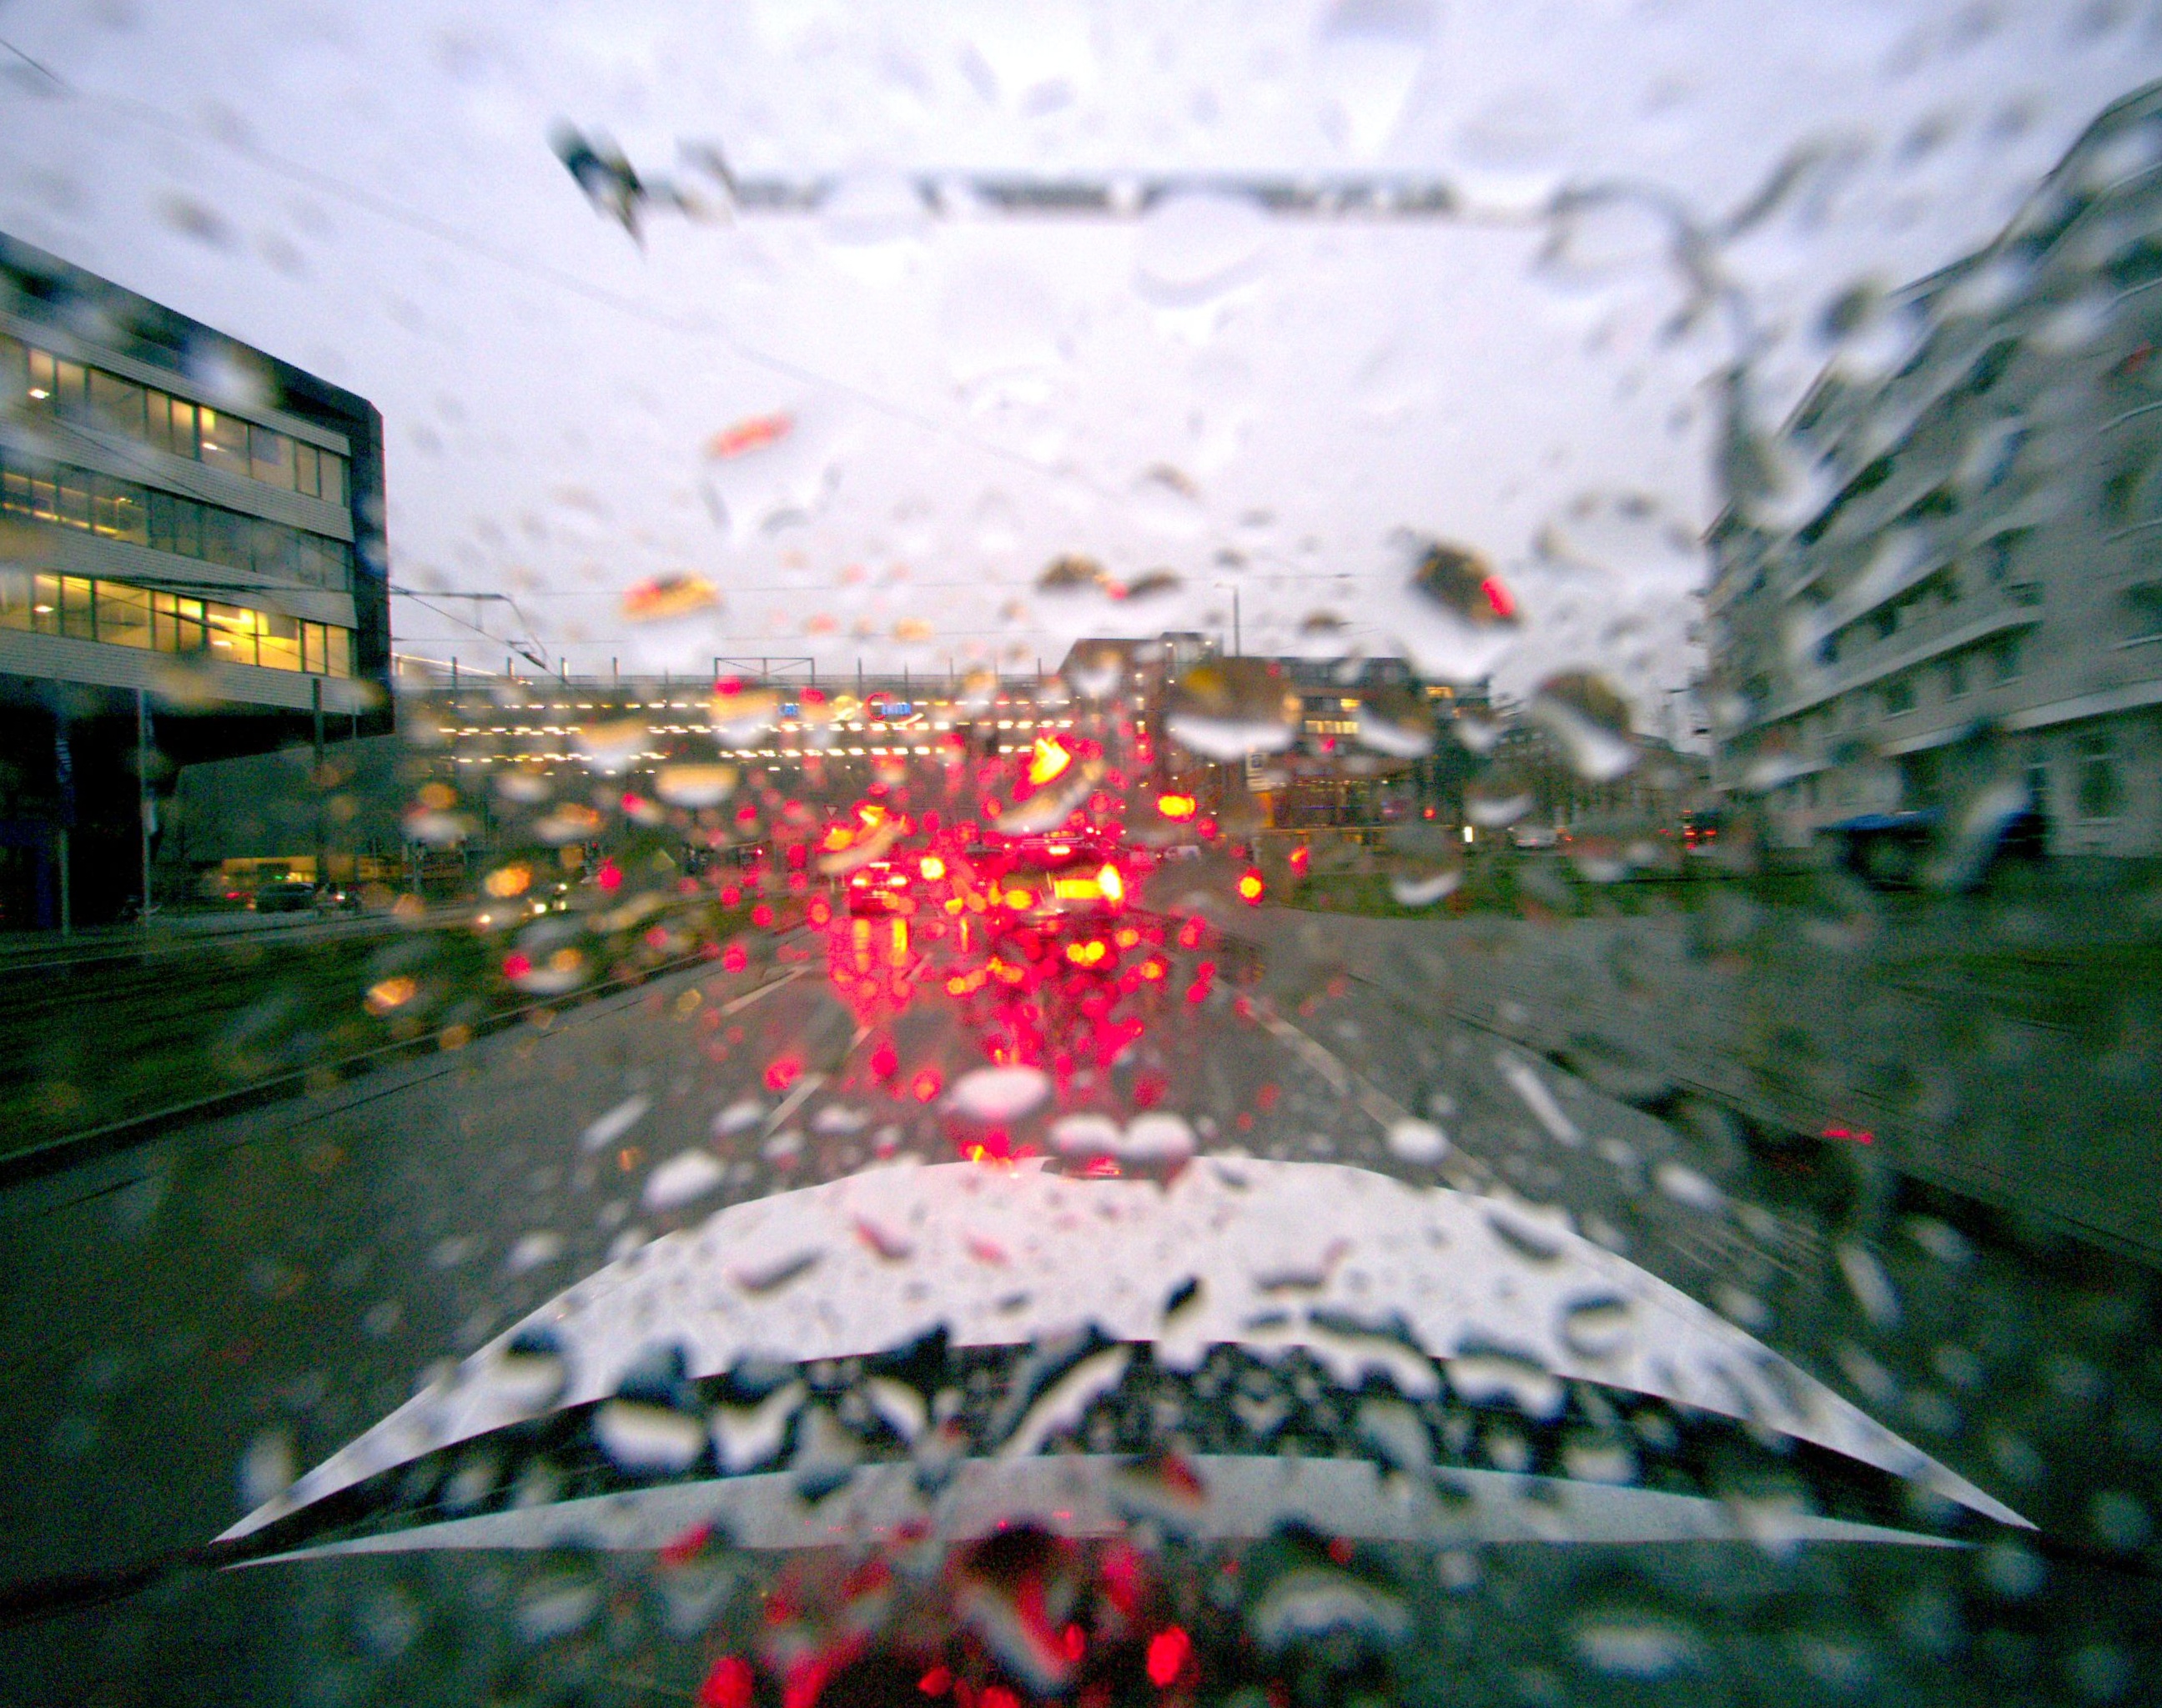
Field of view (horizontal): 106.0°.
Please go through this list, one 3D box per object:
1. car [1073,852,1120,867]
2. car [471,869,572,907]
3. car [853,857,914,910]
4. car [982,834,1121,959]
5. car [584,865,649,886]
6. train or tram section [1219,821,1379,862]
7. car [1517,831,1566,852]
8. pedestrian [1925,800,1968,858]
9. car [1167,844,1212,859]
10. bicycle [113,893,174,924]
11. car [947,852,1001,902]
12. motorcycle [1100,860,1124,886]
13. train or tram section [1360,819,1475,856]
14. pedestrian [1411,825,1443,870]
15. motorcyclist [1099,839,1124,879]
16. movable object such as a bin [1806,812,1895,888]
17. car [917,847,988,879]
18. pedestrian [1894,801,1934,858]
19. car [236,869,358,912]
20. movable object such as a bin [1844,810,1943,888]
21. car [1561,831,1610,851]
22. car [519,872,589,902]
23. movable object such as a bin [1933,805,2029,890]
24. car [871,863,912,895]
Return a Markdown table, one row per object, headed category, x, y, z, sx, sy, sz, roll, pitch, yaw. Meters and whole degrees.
| category | x | y | z | sx | sy | sz | roll | pitch | yaw |
| --- | --- | --- | --- | --- | --- | --- | --- | --- | --- |
| car | 1.561 | 0.575 | 83.487 | 4.427 | 1.390 | 1.790 | -2 | 0 | -16 |
| car | -23.652 | 1.380 | 34.664 | 1.822 | 1.435 | 4.638 | 0 | 0 | -11 |
| car | -6.463 | 0.921 | 26.944 | 1.754 | 1.574 | 3.983 | -2 | 0 | -12 |
| car | -0.650 | 0.600 | 13.504 | 1.735 | 1.738 | 4.232 | 0 | 0 | -10 |
| car | -44.982 | 2.048 | 78.952 | 5.085 | 1.962 | 1.882 | 0 | 0 | -14 |
| train or tram section | 20.797 | -1.256 | 76.720 | 16.679 | 3.260 | 2.318 | -2 | 0 | -24 |
| car | 45.419 | -1.183 | 80.335 | 3.998 | 2.014 | 1.988 | 0 | 0 | -18 |
| pedestrian | 26.051 | -0.733 | 24.517 | 0.669 | 1.714 | 0.633 | 0 | 0 | 21 |
| car | 11.443 | -0.238 | 85.992 | 4.423 | 1.595 | 1.792 | 0 | -1 | -13 |
| bicycle | -37.187 | 2.147 | 32.330 | 0.553 | 1.090 | 1.611 | -2 | 0 | 0 |
| car | -3.951 | 0.804 | 29.664 | 1.637 | 1.697 | 3.655 | -1 | -1 | -12 |
| motorcycle | 1.206 | 0.740 | 32.042 | 0.850 | 0.972 | 1.581 | -2 | 0 | -1 |
| train or tram section | 34.200 | -1.712 | 82.559 | 13.015 | 3.260 | 2.318 | -2 | 0 | -24 |
| pedestrian | 15.254 | -0.284 | 35.937 | 1.161 | 1.924 | 0.902 | 0 | -1 | 15 |
| motorcyclist | 1.185 | 0.200 | 31.998 | 0.866 | 1.534 | 1.107 | -2 | 0 | -1 |
| movable object such as a bin | 16.198 | -0.091 | 17.193 | 1.018 | 1.495 | 1.337 | -3 | 0 | 29 |
| car | -8.492 | 0.581 | 53.900 | 4.369 | 2.013 | 1.987 | 0 | 0 | -19 |
| pedestrian | 25.332 | -0.736 | 24.772 | 0.669 | 1.714 | 0.609 | 0 | 0 | 21 |
| car | -40.672 | 1.878 | 42.359 | 4.000 | 1.874 | 1.987 | -3 | 1 | -20 |
| movable object such as a bin | 15.750 | -0.100 | 15.836 | 1.004 | 1.416 | 1.232 | -4 | -1 | 29 |
| car | 52.097 | -1.340 | 84.133 | 4.958 | 2.013 | 1.983 | 0 | 0 | -26 |
| car | -28.348 | 1.732 | 43.989 | 1.658 | 1.401 | 4.504 | 0 | 0 | -12 |
| movable object such as a bin | 16.541 | -0.119 | 15.004 | 1.024 | 1.490 | 1.047 | 0 | 0 | 38 |
| car | -8.246 | 1.032 | 35.228 | 1.543 | 1.251 | 4.046 | -2 | 0 | -16 |
